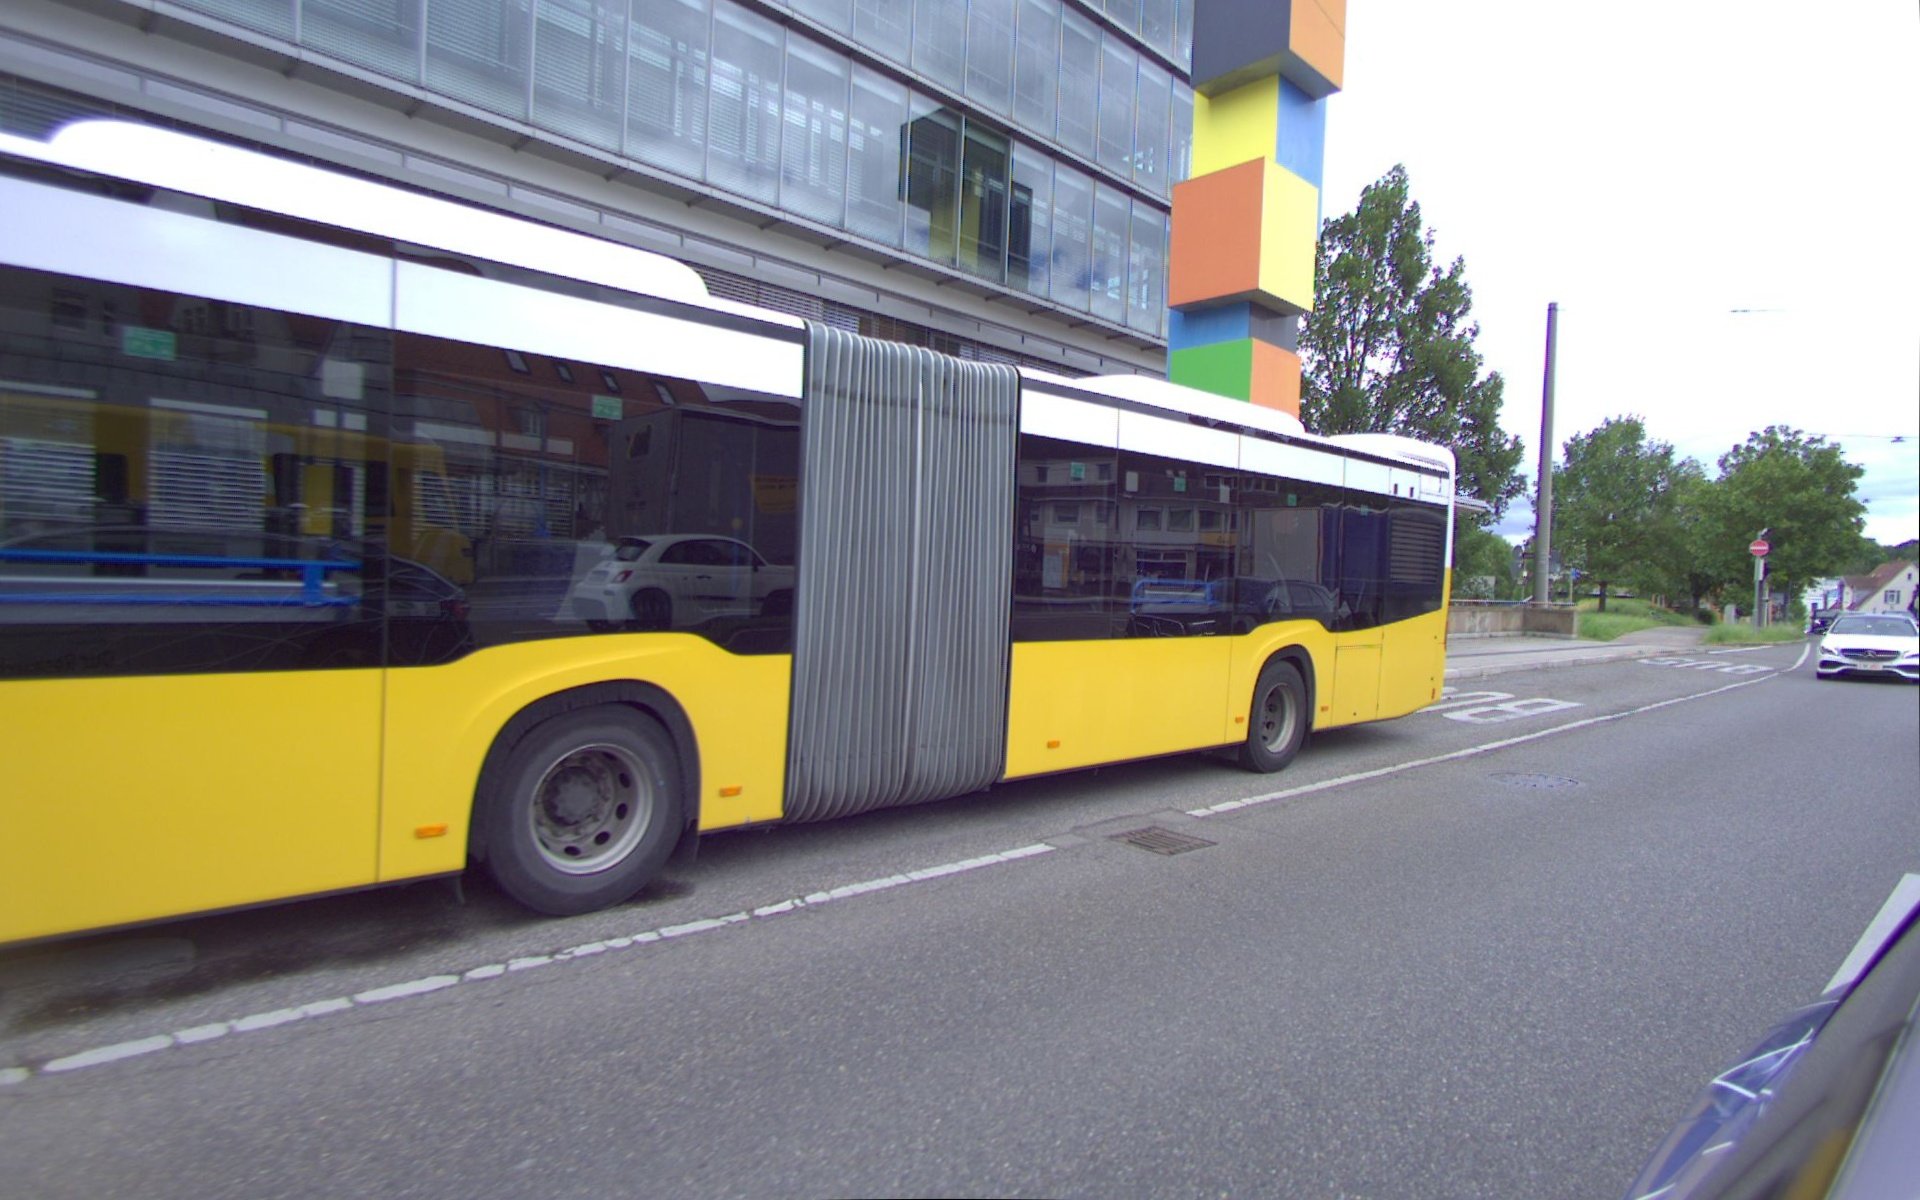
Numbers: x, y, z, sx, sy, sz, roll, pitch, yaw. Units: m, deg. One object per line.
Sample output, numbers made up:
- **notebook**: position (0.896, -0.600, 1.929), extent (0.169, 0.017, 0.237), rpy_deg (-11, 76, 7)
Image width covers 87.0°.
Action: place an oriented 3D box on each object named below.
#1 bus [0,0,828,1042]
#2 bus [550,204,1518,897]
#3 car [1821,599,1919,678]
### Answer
- **bus**: position (-5.264, -0.314, 2.840), extent (9.694, 3.282, 2.987), rpy_deg (-1, 0, -41)
- **bus**: position (1.563, -0.320, 9.008), extent (9.178, 3.275, 3.041), rpy_deg (0, 3, -42)
- **car**: position (20.302, 0.777, 22.314), extent (1.865, 1.524, 4.704), rpy_deg (3, 2, 40)
